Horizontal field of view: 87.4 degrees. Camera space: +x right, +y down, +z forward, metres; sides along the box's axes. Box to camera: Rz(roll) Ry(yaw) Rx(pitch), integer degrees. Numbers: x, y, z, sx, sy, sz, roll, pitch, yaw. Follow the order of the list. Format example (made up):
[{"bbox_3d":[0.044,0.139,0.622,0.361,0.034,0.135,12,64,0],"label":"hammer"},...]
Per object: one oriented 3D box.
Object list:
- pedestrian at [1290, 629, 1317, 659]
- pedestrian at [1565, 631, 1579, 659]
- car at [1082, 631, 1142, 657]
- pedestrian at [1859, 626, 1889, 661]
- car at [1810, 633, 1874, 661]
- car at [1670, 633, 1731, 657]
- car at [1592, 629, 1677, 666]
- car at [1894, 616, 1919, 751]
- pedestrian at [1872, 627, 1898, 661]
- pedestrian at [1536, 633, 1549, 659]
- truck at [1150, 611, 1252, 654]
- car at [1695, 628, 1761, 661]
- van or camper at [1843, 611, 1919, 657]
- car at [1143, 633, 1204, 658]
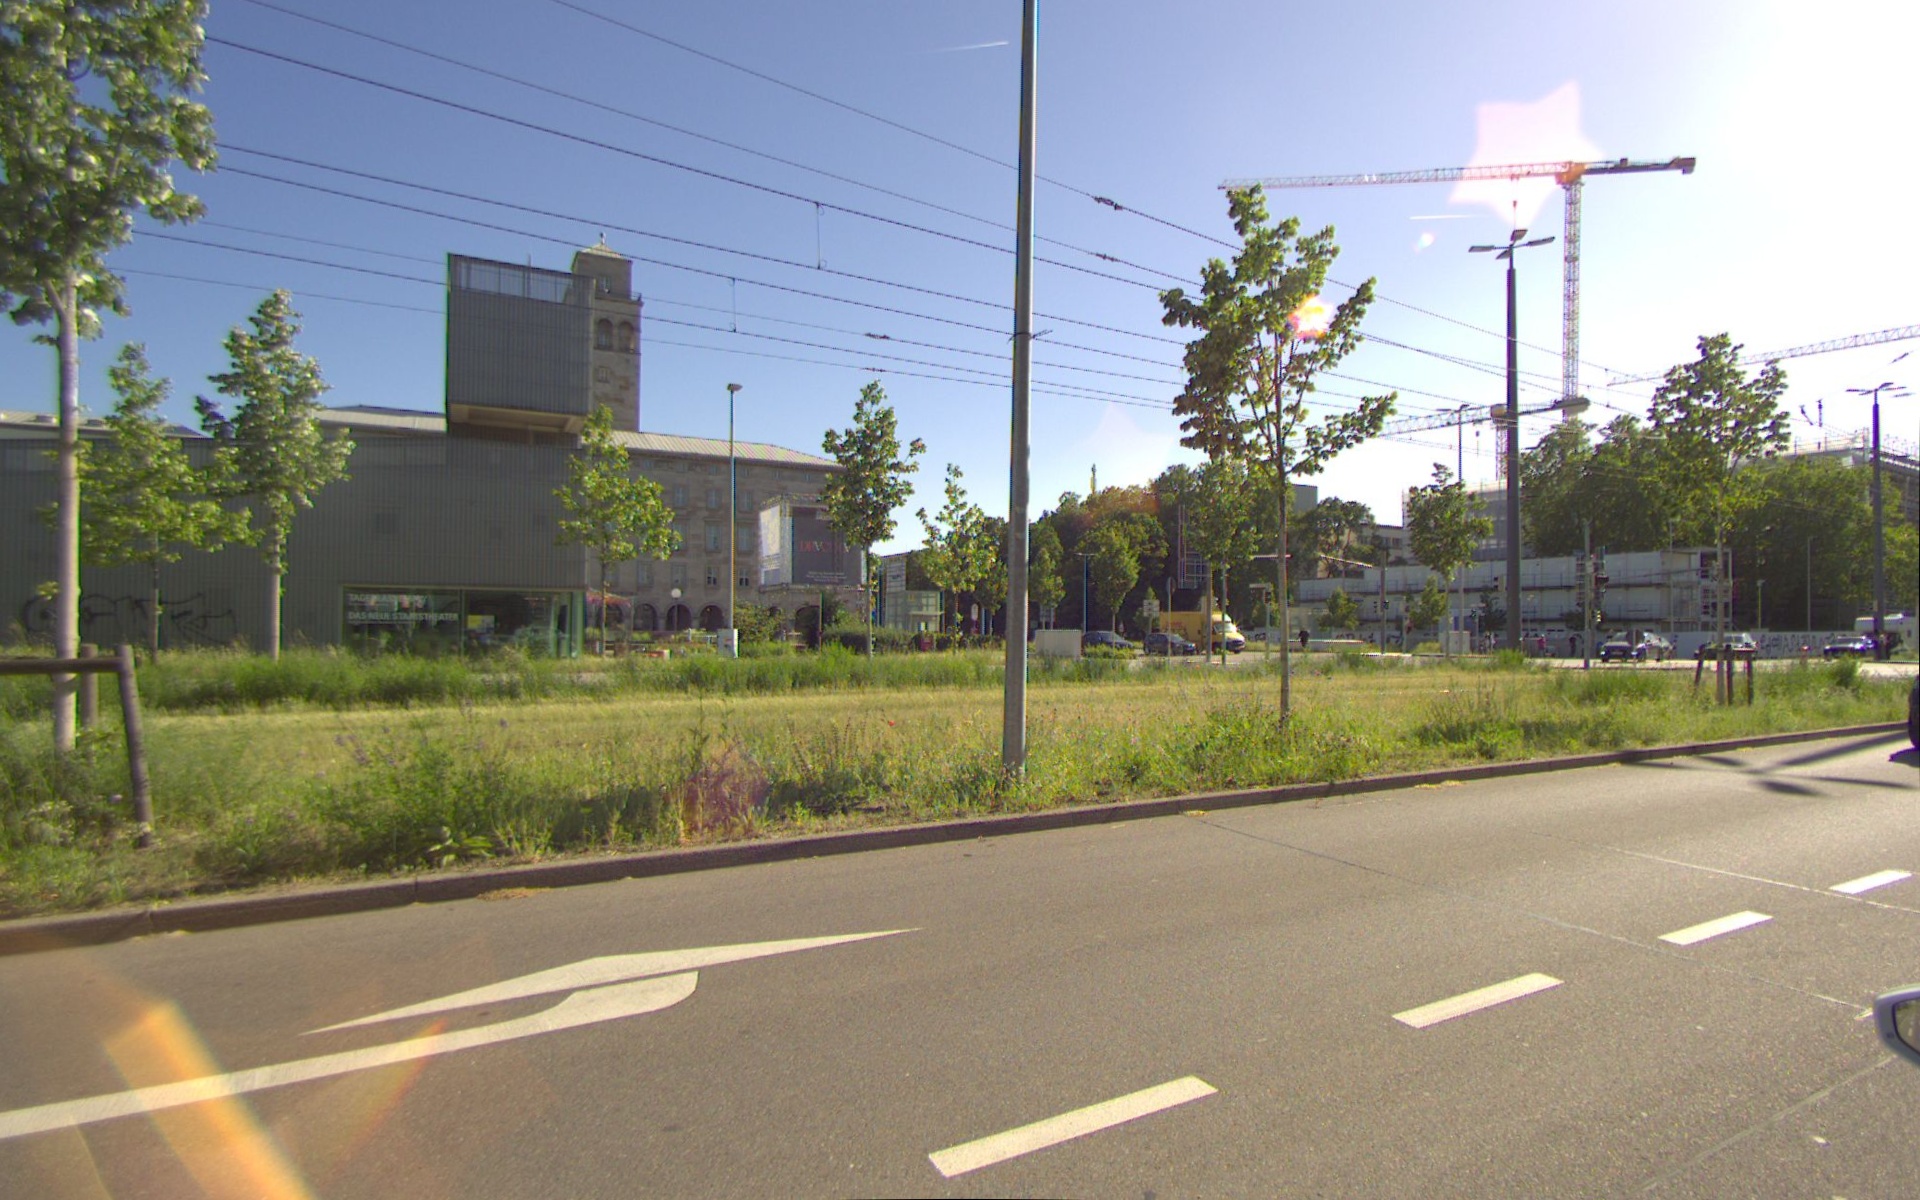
[{"bbox_3d":[19.912,2.542,58.305,0.935,1.708,1.188,0,0,-26],"label":"pedestrian"},{"bbox_3d":[40.783,2.996,66.901,0.687,1.847,0.595,0,-1,22],"label":"pedestrian"},{"bbox_3d":[9.567,2.778,63.564,1.877,1.559,3.976,1,-2,-25],"label":"car"},{"bbox_3d":[48.371,2.296,53.153,0.864,1.847,0.803,0,-1,2],"label":"pedestrian"},{"bbox_3d":[55.876,2.949,63.595,4.319,1.730,1.935,2,-2,-32],"label":"car"},{"bbox_3d":[51.795,3.161,70.281,3.950,1.622,1.985,1,-2,-28],"label":"car"},{"bbox_3d":[33.210,2.315,49.422,4.040,1.711,1.819,1,-1,-28],"label":"car"},{"bbox_3d":[13.601,1.062,12.551,4.041,1.609,1.761,1,0,-31],"label":"car"},{"bbox_3d":[50.109,2.369,54.418,0.966,1.847,0.795,1,-1,-33],"label":"pedestrian"},{"bbox_3d":[40.952,3.228,70.575,0.687,1.847,0.595,0,-1,22],"label":"pedestrian"},{"bbox_3d":[16.382,2.200,68.921,2.429,2.829,7.985,1,-2,-25],"label":"truck"},{"bbox_3d":[46.974,2.704,61.439,3.954,1.981,1.861,1,-1,-31],"label":"car"},{"bbox_3d":[63.188,2.306,68.455,7.261,2.976,2.591,1,-2,-32],"label":"van or camper"},{"bbox_3d":[13.874,2.935,65.477,1.877,1.559,3.976,1,-2,-25],"label":"car"}]
